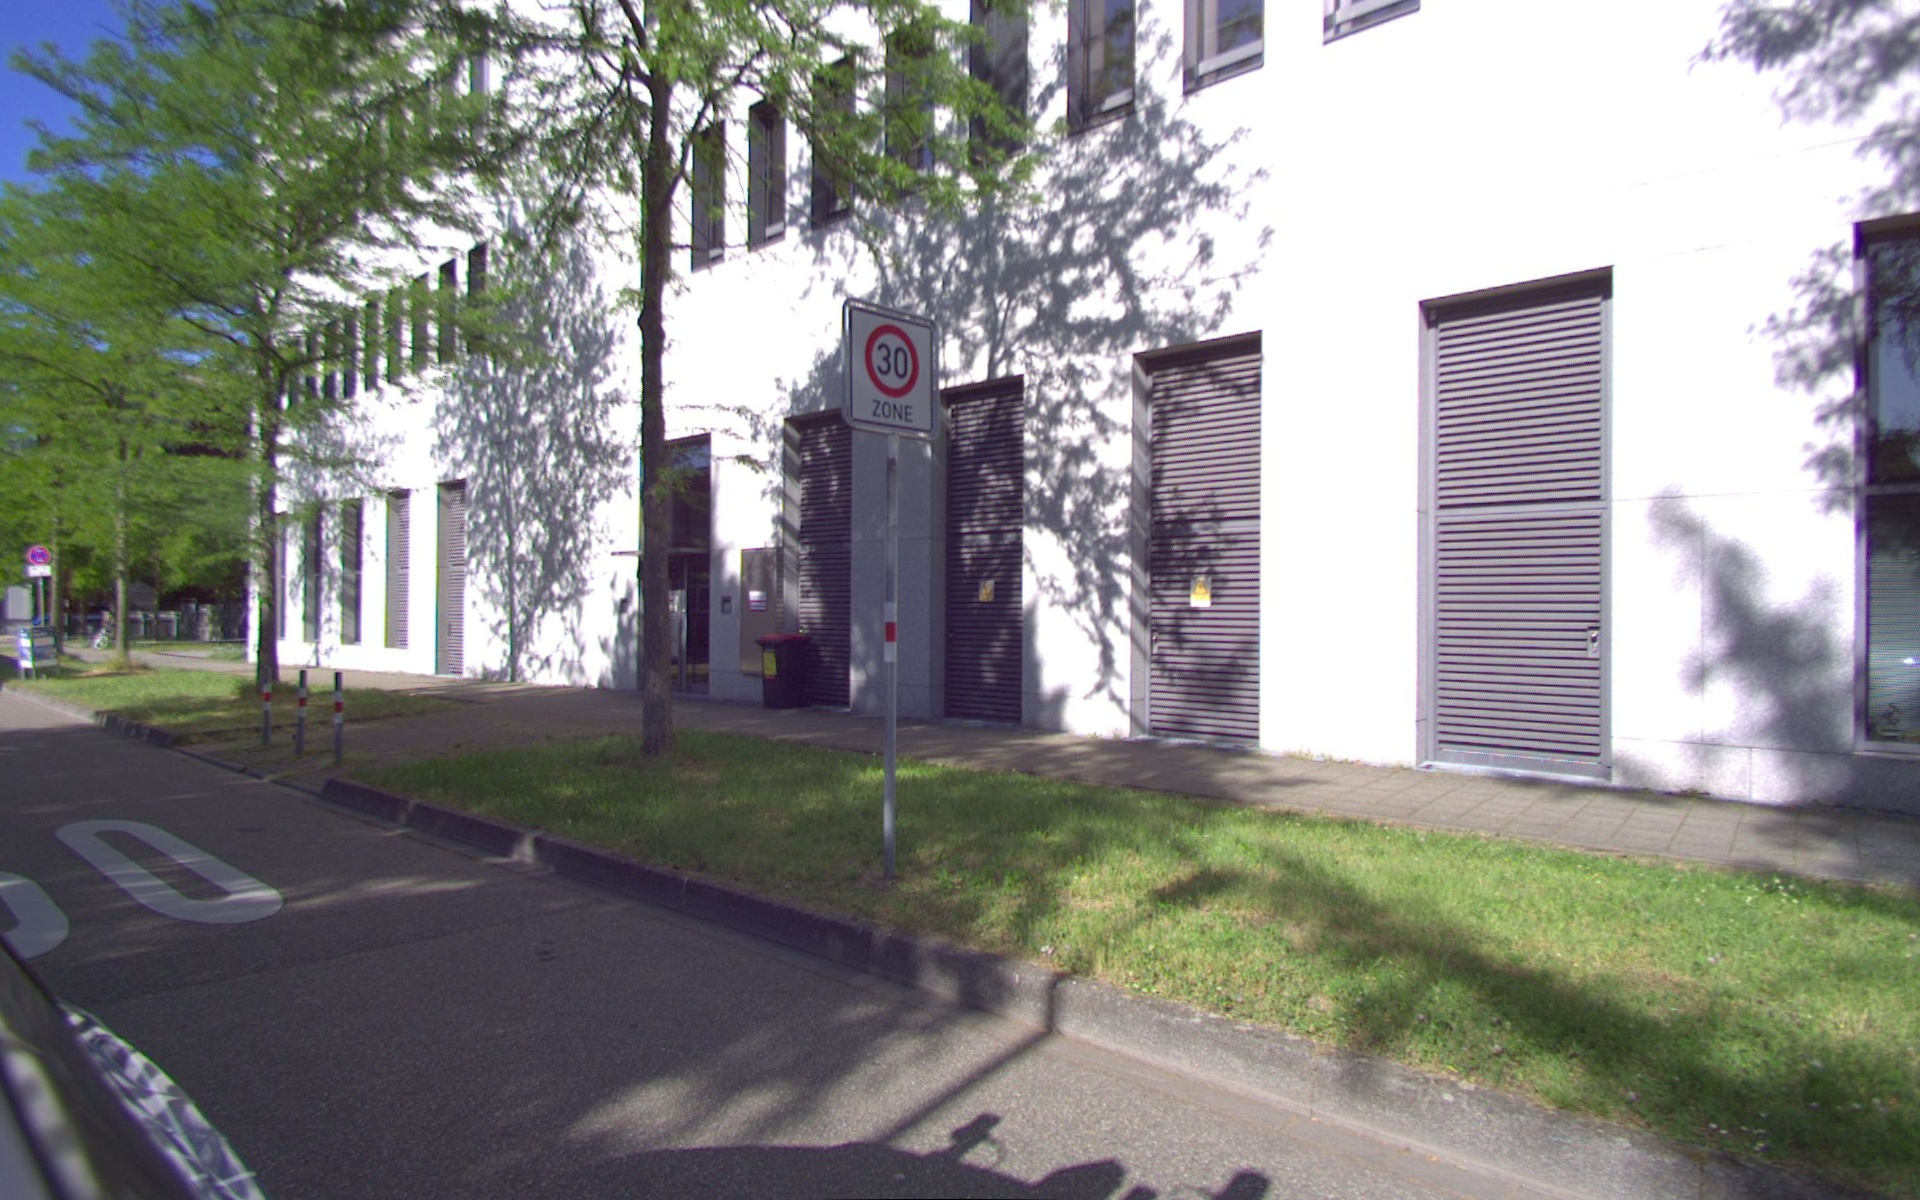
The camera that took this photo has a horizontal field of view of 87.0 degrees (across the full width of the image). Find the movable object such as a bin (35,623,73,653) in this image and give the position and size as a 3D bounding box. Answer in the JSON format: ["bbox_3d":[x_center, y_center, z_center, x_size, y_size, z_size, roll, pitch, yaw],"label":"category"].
[{"bbox_3d":[-49.502,2.053,55.276,1.501,1.580,1.347,0,-1,-45],"label":"movable object such as a bin"}]

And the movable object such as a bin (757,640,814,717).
[{"bbox_3d":[-2.478,1.099,14.378,0.543,1.048,0.587,-1,-1,39],"label":"movable object such as a bin"}]

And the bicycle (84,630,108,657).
[{"bbox_3d":[-39.400,1.969,46.164,1.727,1.201,0.594,-1,-1,41],"label":"bicycle"}]
